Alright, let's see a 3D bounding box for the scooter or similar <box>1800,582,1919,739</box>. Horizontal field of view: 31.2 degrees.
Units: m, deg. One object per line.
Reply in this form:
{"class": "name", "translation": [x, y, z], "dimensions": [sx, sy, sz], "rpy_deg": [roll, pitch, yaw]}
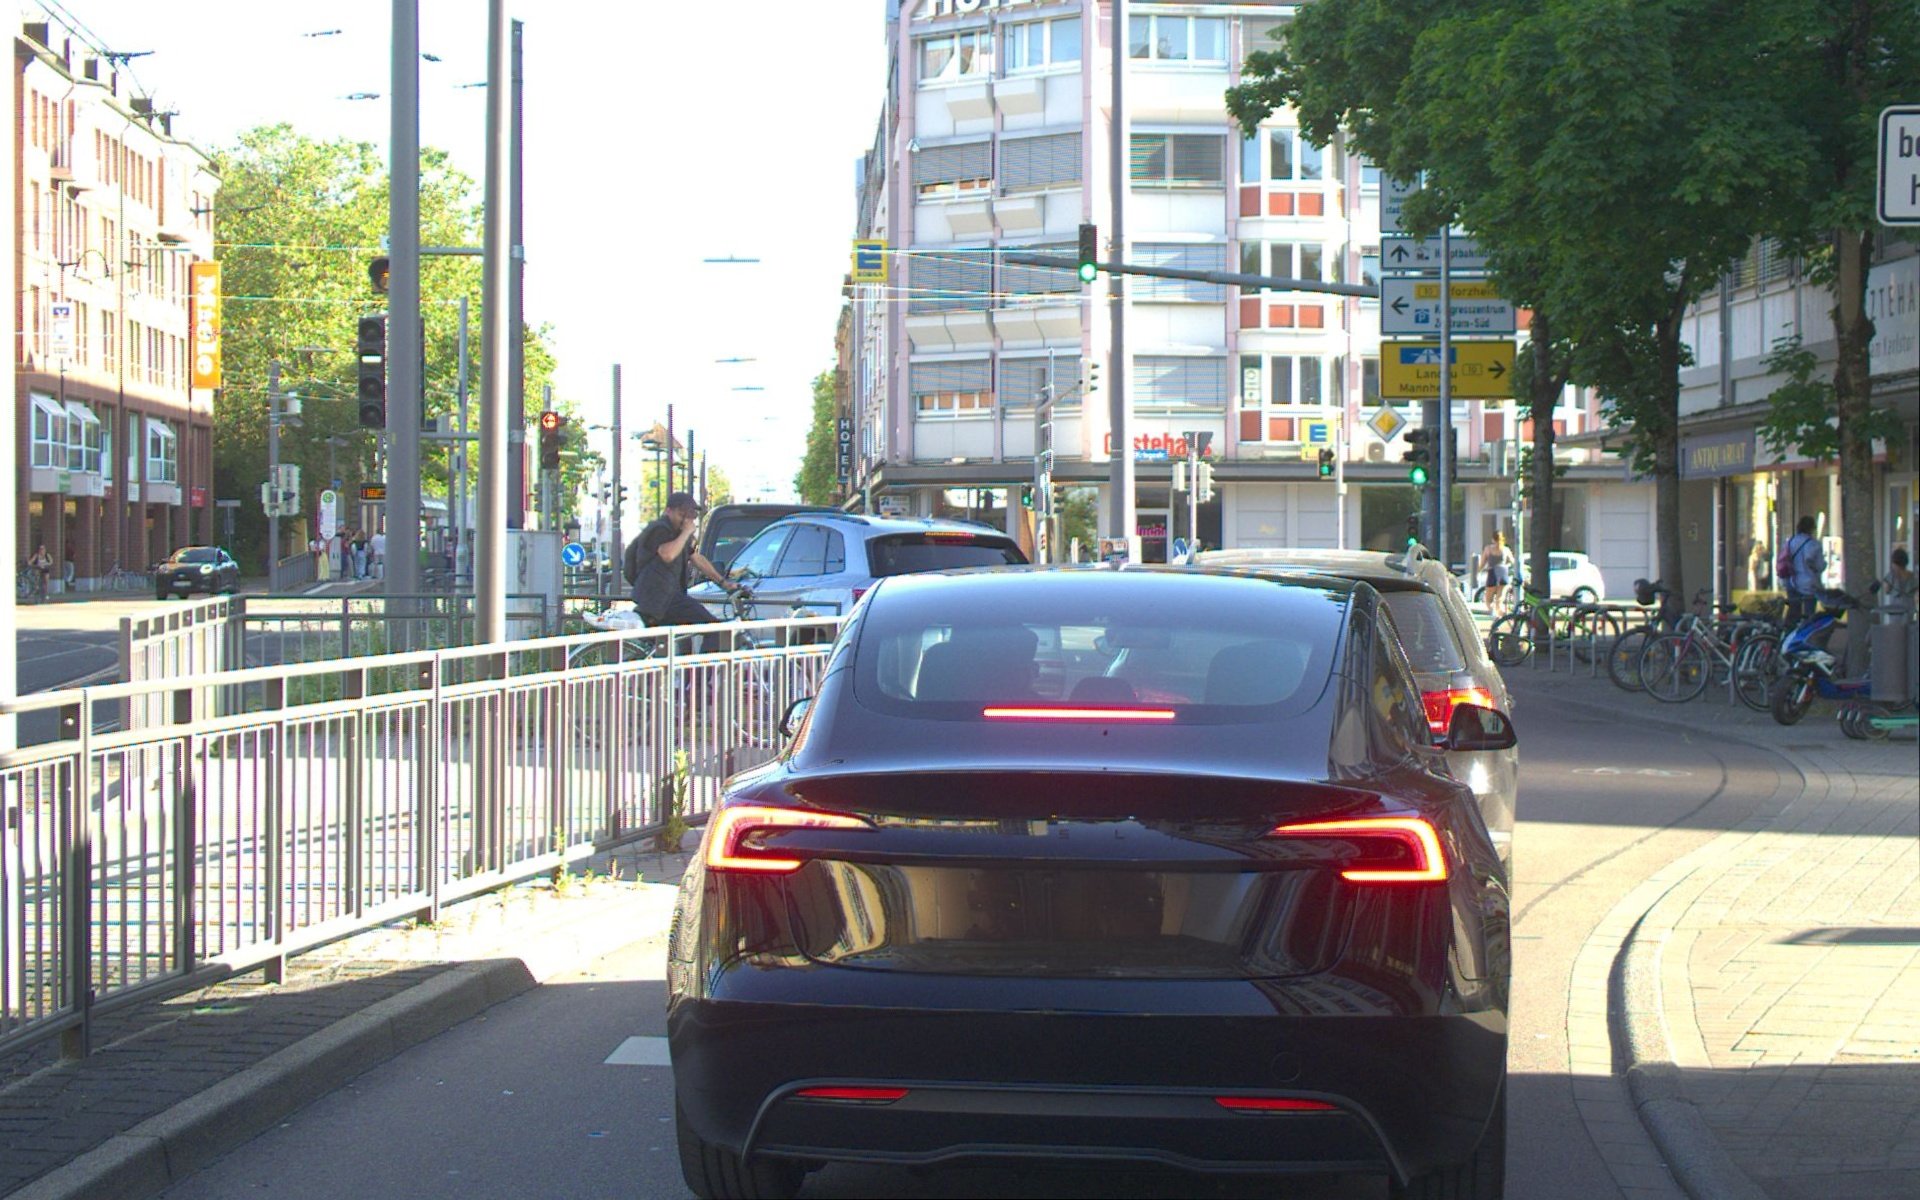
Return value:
{"class": "scooter or similar", "translation": [7.557, 0.474, 27.185], "dimensions": [1.644, 1.211, 0.644], "rpy_deg": [1, 0, 30]}

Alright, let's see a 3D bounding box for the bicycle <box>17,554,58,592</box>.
{"class": "bicycle", "translation": [-26.431, -0.781, 98.531], "dimensions": [0.529, 1.085, 2.224], "rpy_deg": [1, 1, 1]}

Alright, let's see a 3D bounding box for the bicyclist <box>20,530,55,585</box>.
{"class": "bicyclist", "translation": [-26.444, -1.208, 98.554], "dimensions": [0.784, 1.558, 0.746], "rpy_deg": [1, 0, 2]}

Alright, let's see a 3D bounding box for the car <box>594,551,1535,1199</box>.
{"class": "car", "translation": [0.347, 0.623, 8.735], "dimensions": [1.829, 1.450, 3.999], "rpy_deg": [1, 1, 4]}

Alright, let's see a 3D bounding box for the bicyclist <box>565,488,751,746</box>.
{"class": "bicyclist", "translation": [-1.952, 0.100, 22.178], "dimensions": [0.758, 1.623, 0.978], "rpy_deg": [0, 1, -39]}

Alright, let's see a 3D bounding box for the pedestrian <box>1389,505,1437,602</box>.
{"class": "pedestrian", "translation": [7.817, -0.805, 59.342], "dimensions": [0.699, 1.656, 0.777], "rpy_deg": [1, 0, -1]}

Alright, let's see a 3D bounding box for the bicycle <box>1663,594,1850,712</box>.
{"class": "bicycle", "translation": [7.286, 0.486, 31.444], "dimensions": [1.649, 1.057, 0.350], "rpy_deg": [1, 0, -10]}

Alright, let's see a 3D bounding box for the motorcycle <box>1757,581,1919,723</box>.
{"class": "motorcycle", "translation": [7.713, 0.445, 29.259], "dimensions": [1.707, 1.169, 0.541], "rpy_deg": [1, 0, -2]}

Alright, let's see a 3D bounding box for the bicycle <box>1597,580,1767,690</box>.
{"class": "bicycle", "translation": [7.418, 0.355, 35.343], "dimensions": [1.650, 1.095, 0.350], "rpy_deg": [1, 0, 1]}

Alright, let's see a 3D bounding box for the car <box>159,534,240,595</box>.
{"class": "car", "translation": [-22.177, -1.032, 100.393], "dimensions": [1.697, 1.725, 3.707], "rpy_deg": [1, 1, -3]}

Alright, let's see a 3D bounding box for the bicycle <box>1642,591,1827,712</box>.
{"class": "bicycle", "translation": [7.181, 0.478, 31.868], "dimensions": [1.649, 1.095, 0.350], "rpy_deg": [1, 0, -10]}

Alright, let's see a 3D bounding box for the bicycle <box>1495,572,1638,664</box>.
{"class": "bicycle", "translation": [7.298, 0.214, 41.381], "dimensions": [1.650, 1.095, 0.350], "rpy_deg": [0, 1, 1]}

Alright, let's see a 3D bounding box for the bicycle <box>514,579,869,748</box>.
{"class": "bicycle", "translation": [-1.727, 0.398, 22.425], "dimensions": [2.329, 1.050, 0.631], "rpy_deg": [0, 1, -38]}

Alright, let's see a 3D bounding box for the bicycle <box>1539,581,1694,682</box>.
{"class": "bicycle", "translation": [7.309, 0.345, 38.296], "dimensions": [1.650, 1.095, 0.350], "rpy_deg": [1, 0, 1]}

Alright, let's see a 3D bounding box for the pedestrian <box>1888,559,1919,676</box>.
{"class": "pedestrian", "translation": [11.005, 0.196, 39.765], "dimensions": [0.389, 1.339, 0.513], "rpy_deg": [1, 0, 2]}

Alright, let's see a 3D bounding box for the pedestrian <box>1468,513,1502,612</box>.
{"class": "pedestrian", "translation": [9.094, -0.655, 59.547], "dimensions": [0.526, 1.704, 0.403], "rpy_deg": [1, 0, 5]}

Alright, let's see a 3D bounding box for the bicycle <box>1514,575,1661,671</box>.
{"class": "bicycle", "translation": [7.361, 0.271, 40.336], "dimensions": [1.650, 1.095, 0.350], "rpy_deg": [1, 0, 1]}

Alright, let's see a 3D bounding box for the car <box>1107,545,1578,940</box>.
{"class": "car", "translation": [1.644, 0.502, 14.988], "dimensions": [1.751, 1.449, 3.999], "rpy_deg": [1, 1, 6]}

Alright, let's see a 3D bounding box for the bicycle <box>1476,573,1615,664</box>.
{"class": "bicycle", "translation": [7.231, 0.223, 42.475], "dimensions": [1.650, 1.095, 0.350], "rpy_deg": [1, 0, 1]}

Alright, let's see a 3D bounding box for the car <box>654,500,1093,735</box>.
{"class": "car", "translation": [-0.763, 0.101, 26.574], "dimensions": [1.883, 1.656, 4.159], "rpy_deg": [1, 1, -25]}

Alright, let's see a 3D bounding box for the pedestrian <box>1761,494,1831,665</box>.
{"class": "pedestrian", "translation": [9.904, -0.247, 40.737], "dimensions": [0.662, 2.007, 0.579], "rpy_deg": [1, 0, 2]}

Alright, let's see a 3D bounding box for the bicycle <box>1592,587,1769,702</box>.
{"class": "bicycle", "translation": [6.999, 0.435, 33.395], "dimensions": [1.649, 1.095, 0.350], "rpy_deg": [1, 0, -10]}

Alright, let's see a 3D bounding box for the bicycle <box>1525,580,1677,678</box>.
{"class": "bicycle", "translation": [7.329, 0.331, 39.323], "dimensions": [1.650, 1.095, 0.350], "rpy_deg": [1, 0, 1]}

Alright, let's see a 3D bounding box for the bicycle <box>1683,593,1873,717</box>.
{"class": "bicycle", "translation": [7.383, 0.498, 31.023], "dimensions": [1.649, 1.095, 0.350], "rpy_deg": [1, 0, -10]}

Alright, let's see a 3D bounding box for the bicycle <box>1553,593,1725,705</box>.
{"class": "bicycle", "translation": [6.770, 0.491, 34.262], "dimensions": [1.649, 1.095, 0.350], "rpy_deg": [1, 0, -10]}

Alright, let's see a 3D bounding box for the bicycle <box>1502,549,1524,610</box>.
{"class": "bicycle", "translation": [9.505, -0.354, 59.093], "dimensions": [0.332, 1.030, 1.256], "rpy_deg": [1, 1, 8]}

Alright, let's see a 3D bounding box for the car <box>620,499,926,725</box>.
{"class": "car", "translation": [-1.846, 0.077, 32.678], "dimensions": [1.993, 2.007, 4.001], "rpy_deg": [0, 1, -17]}
